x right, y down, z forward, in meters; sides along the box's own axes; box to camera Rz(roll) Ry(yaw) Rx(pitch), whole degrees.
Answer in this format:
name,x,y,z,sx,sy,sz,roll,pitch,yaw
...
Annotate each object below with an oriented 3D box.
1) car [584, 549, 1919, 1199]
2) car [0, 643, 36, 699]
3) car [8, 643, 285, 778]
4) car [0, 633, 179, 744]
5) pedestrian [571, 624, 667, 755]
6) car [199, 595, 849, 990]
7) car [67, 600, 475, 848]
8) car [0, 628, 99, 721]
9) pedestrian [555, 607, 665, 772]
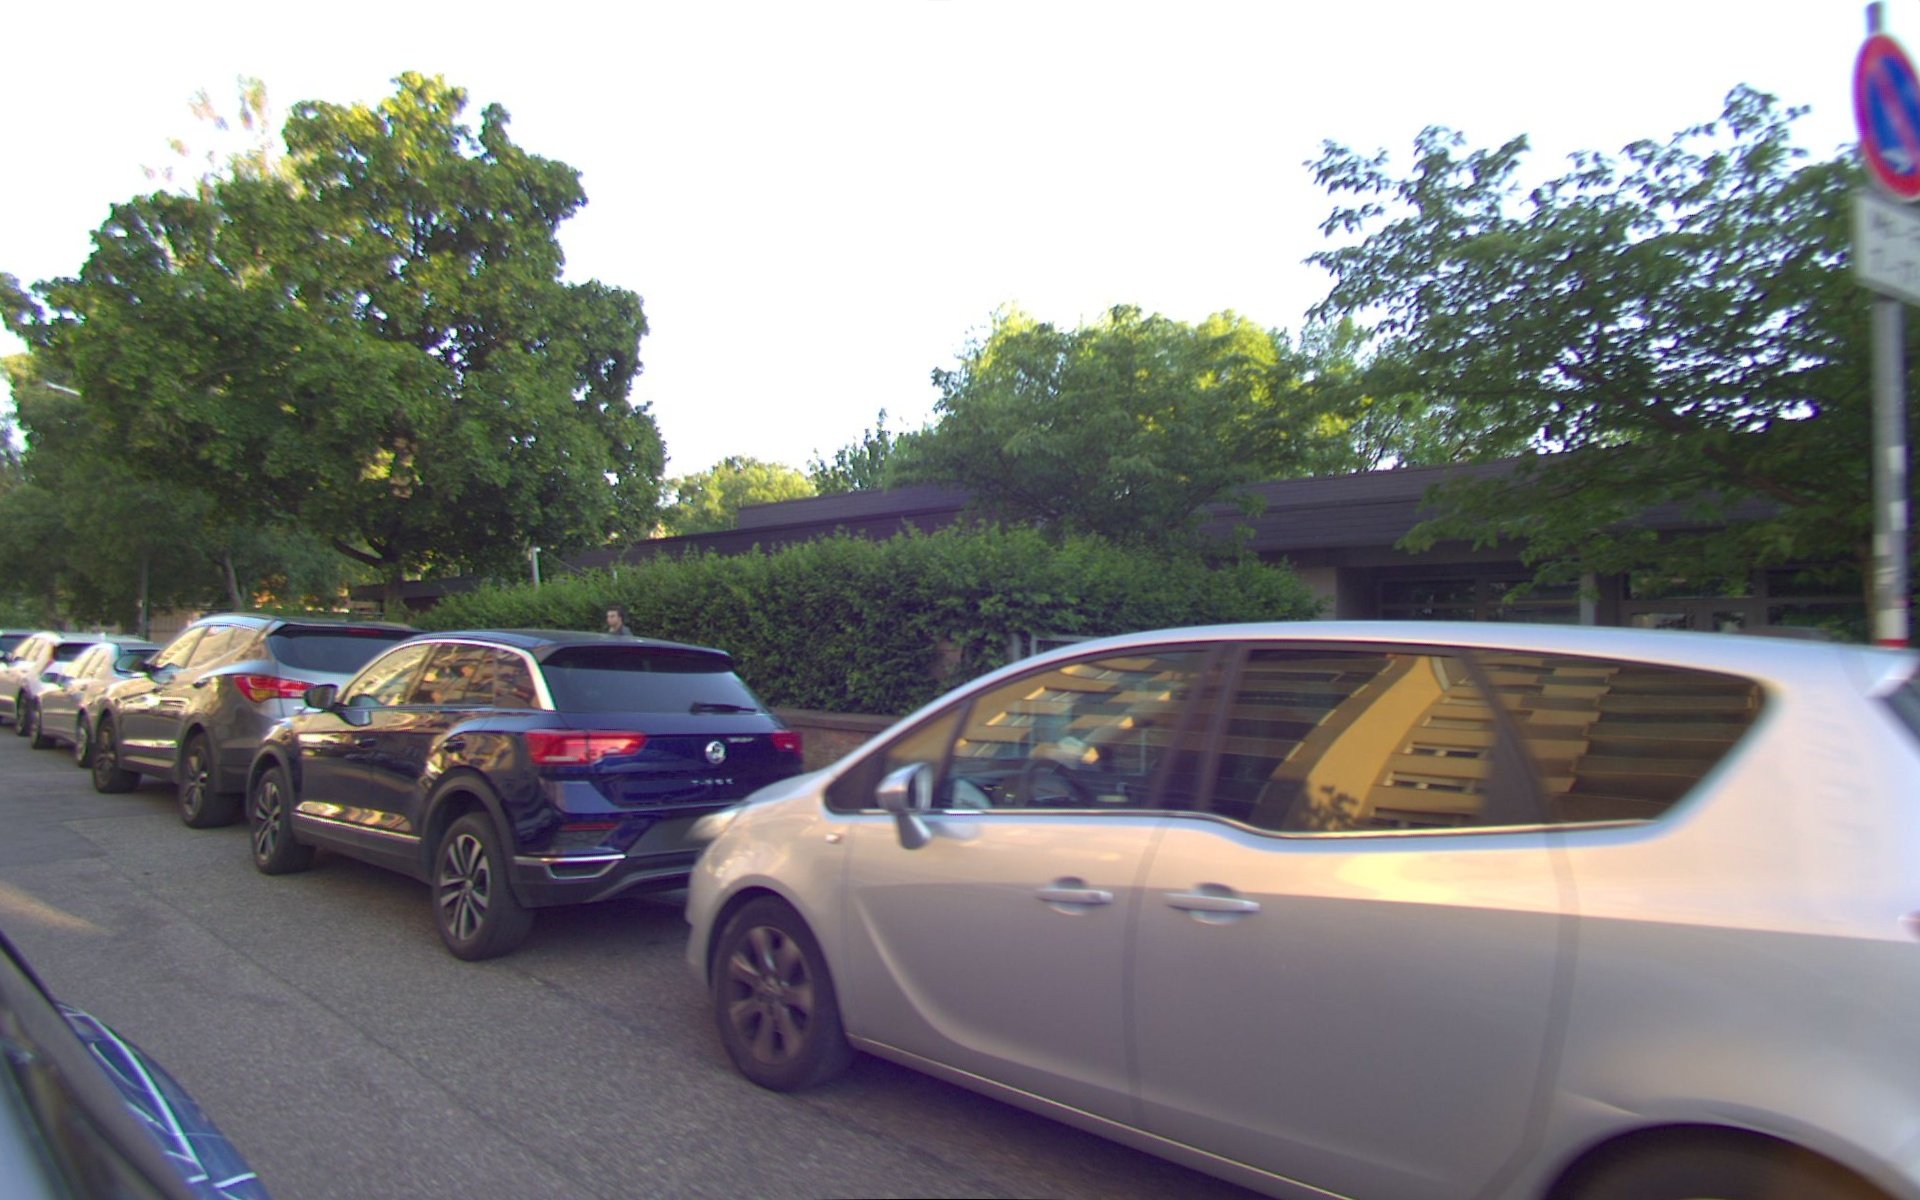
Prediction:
name,x,y,z,sx,sy,sz,roll,pitch,yaw
car,0.798,0.809,3.146,4.123,1.579,1.717,-2,-5,38
car,-26.378,1.884,27.346,3.413,1.436,1.603,-2,-6,41
car,-10.407,1.303,12.843,4.280,1.438,1.717,-2,-5,38
car,-14.284,1.351,16.184,4.274,1.555,1.742,-2,-5,38
pedestrian,-4.192,1.070,12.441,0.901,1.519,0.741,-2,-1,39
car,-2.782,0.885,6.058,4.161,1.579,1.717,-2,-5,38
car,-6.356,0.988,9.167,4.316,1.743,1.717,-2,-5,38
car,-18.338,1.420,19.720,3.978,1.644,1.715,-2,-6,41
pedestrian,-3.910,0.957,11.330,0.749,1.745,0.890,-2,-1,39
